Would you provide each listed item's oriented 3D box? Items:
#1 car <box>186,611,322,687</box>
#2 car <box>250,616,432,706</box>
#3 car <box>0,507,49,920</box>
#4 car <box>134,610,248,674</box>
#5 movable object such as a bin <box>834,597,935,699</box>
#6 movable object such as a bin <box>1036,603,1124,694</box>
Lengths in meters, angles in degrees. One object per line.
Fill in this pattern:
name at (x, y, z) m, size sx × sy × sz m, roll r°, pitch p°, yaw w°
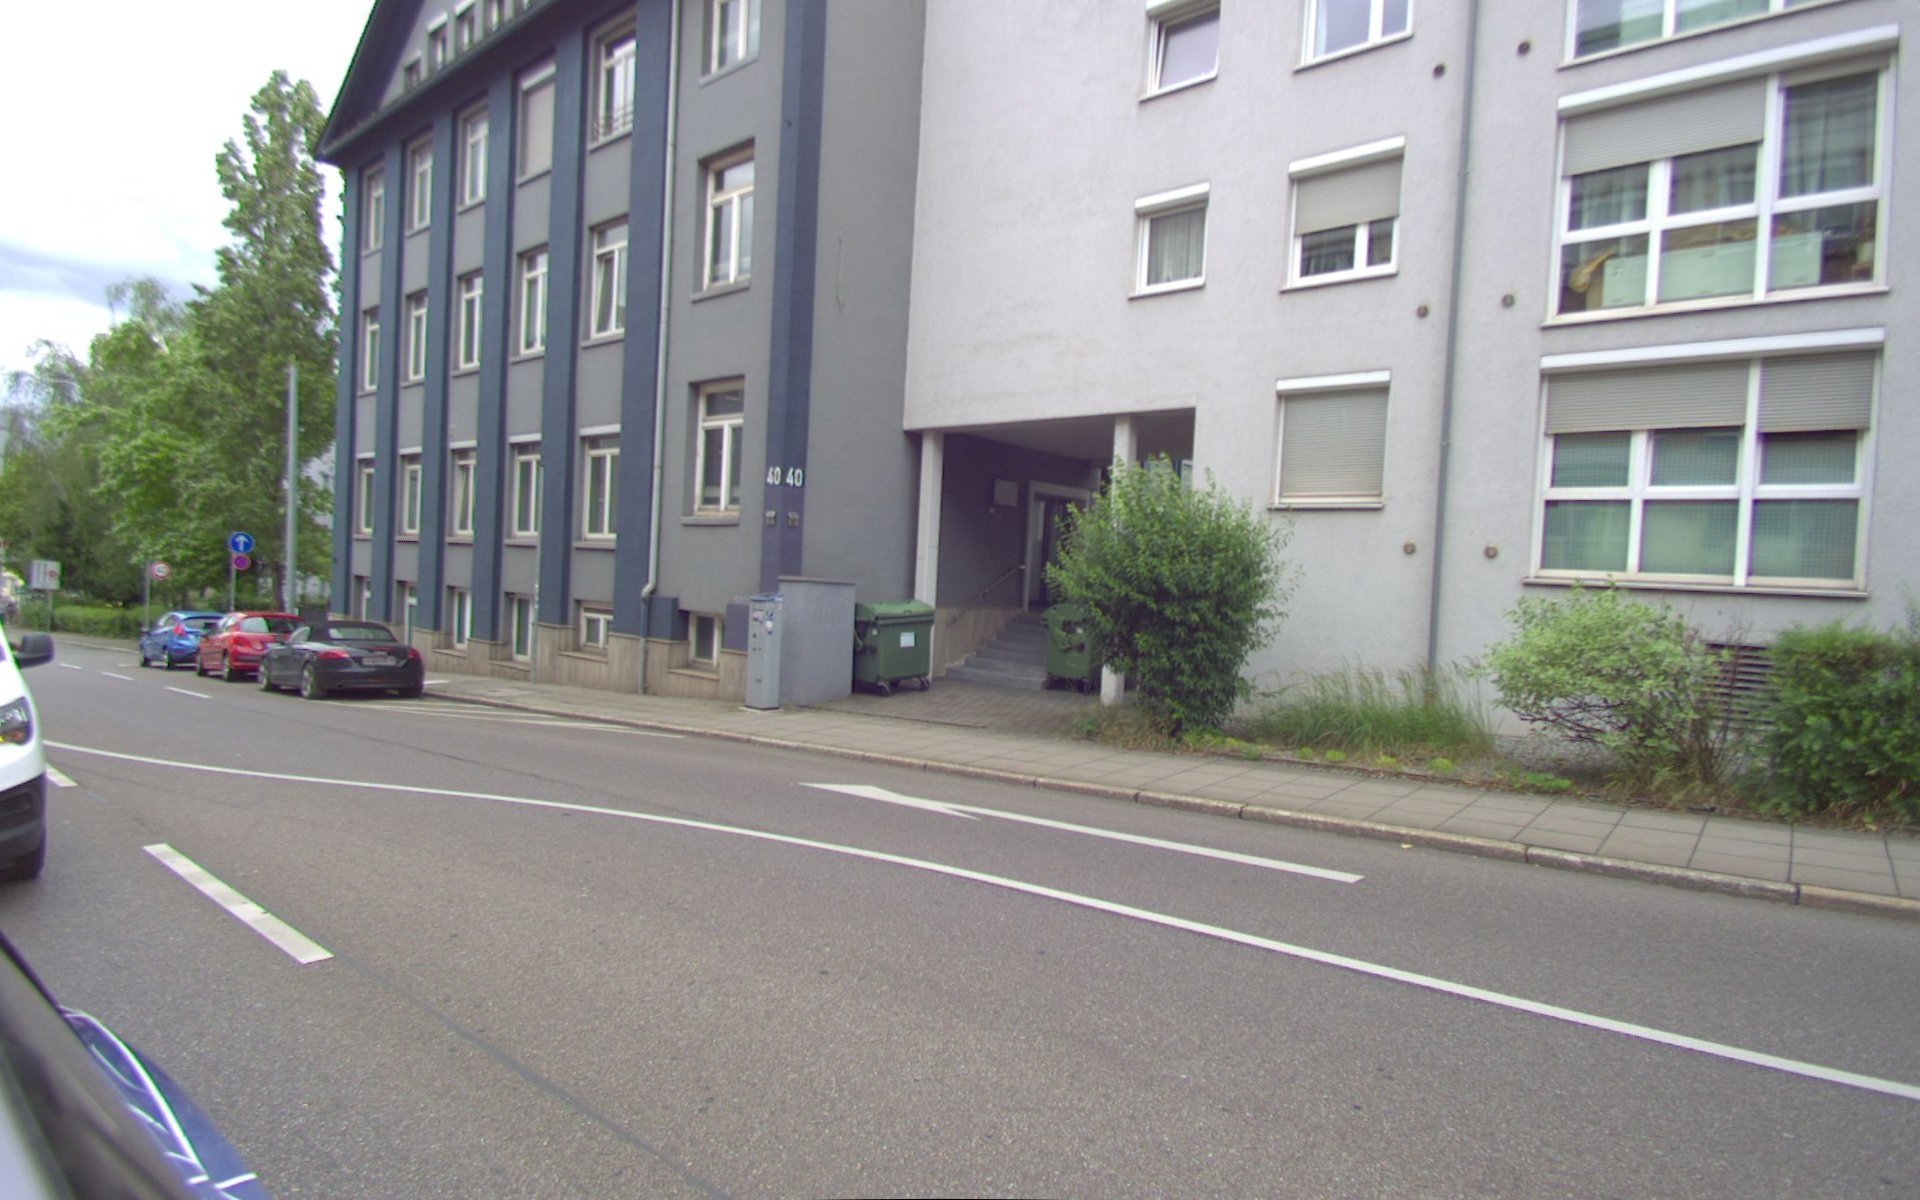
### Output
car at (-15.583, 1.008, 22.276) m, size 3.727 × 1.460 × 1.623 m, roll 0°, pitch 1°, yaw 41°
car at (-11.255, 1.021, 18.325) m, size 3.727 × 1.403 × 1.778 m, roll 0°, pitch -1°, yaw 41°
car at (-6.362, 0.520, 5.444) m, size 3.998 × 1.900 × 1.716 m, roll 0°, pitch 1°, yaw 41°
car at (-19.820, 1.027, 26.026) m, size 3.727 × 1.460 × 1.623 m, roll 0°, pitch 1°, yaw 41°
movable object such as a bin at (-1.181, 0.717, 15.976) m, size 1.039 × 1.518 × 1.213 m, roll 0°, pitch 1°, yaw 41°
movable object such as a bin at (1.995, 0.781, 16.853) m, size 1.078 × 1.427 × 1.026 m, roll 0°, pitch 1°, yaw 41°
